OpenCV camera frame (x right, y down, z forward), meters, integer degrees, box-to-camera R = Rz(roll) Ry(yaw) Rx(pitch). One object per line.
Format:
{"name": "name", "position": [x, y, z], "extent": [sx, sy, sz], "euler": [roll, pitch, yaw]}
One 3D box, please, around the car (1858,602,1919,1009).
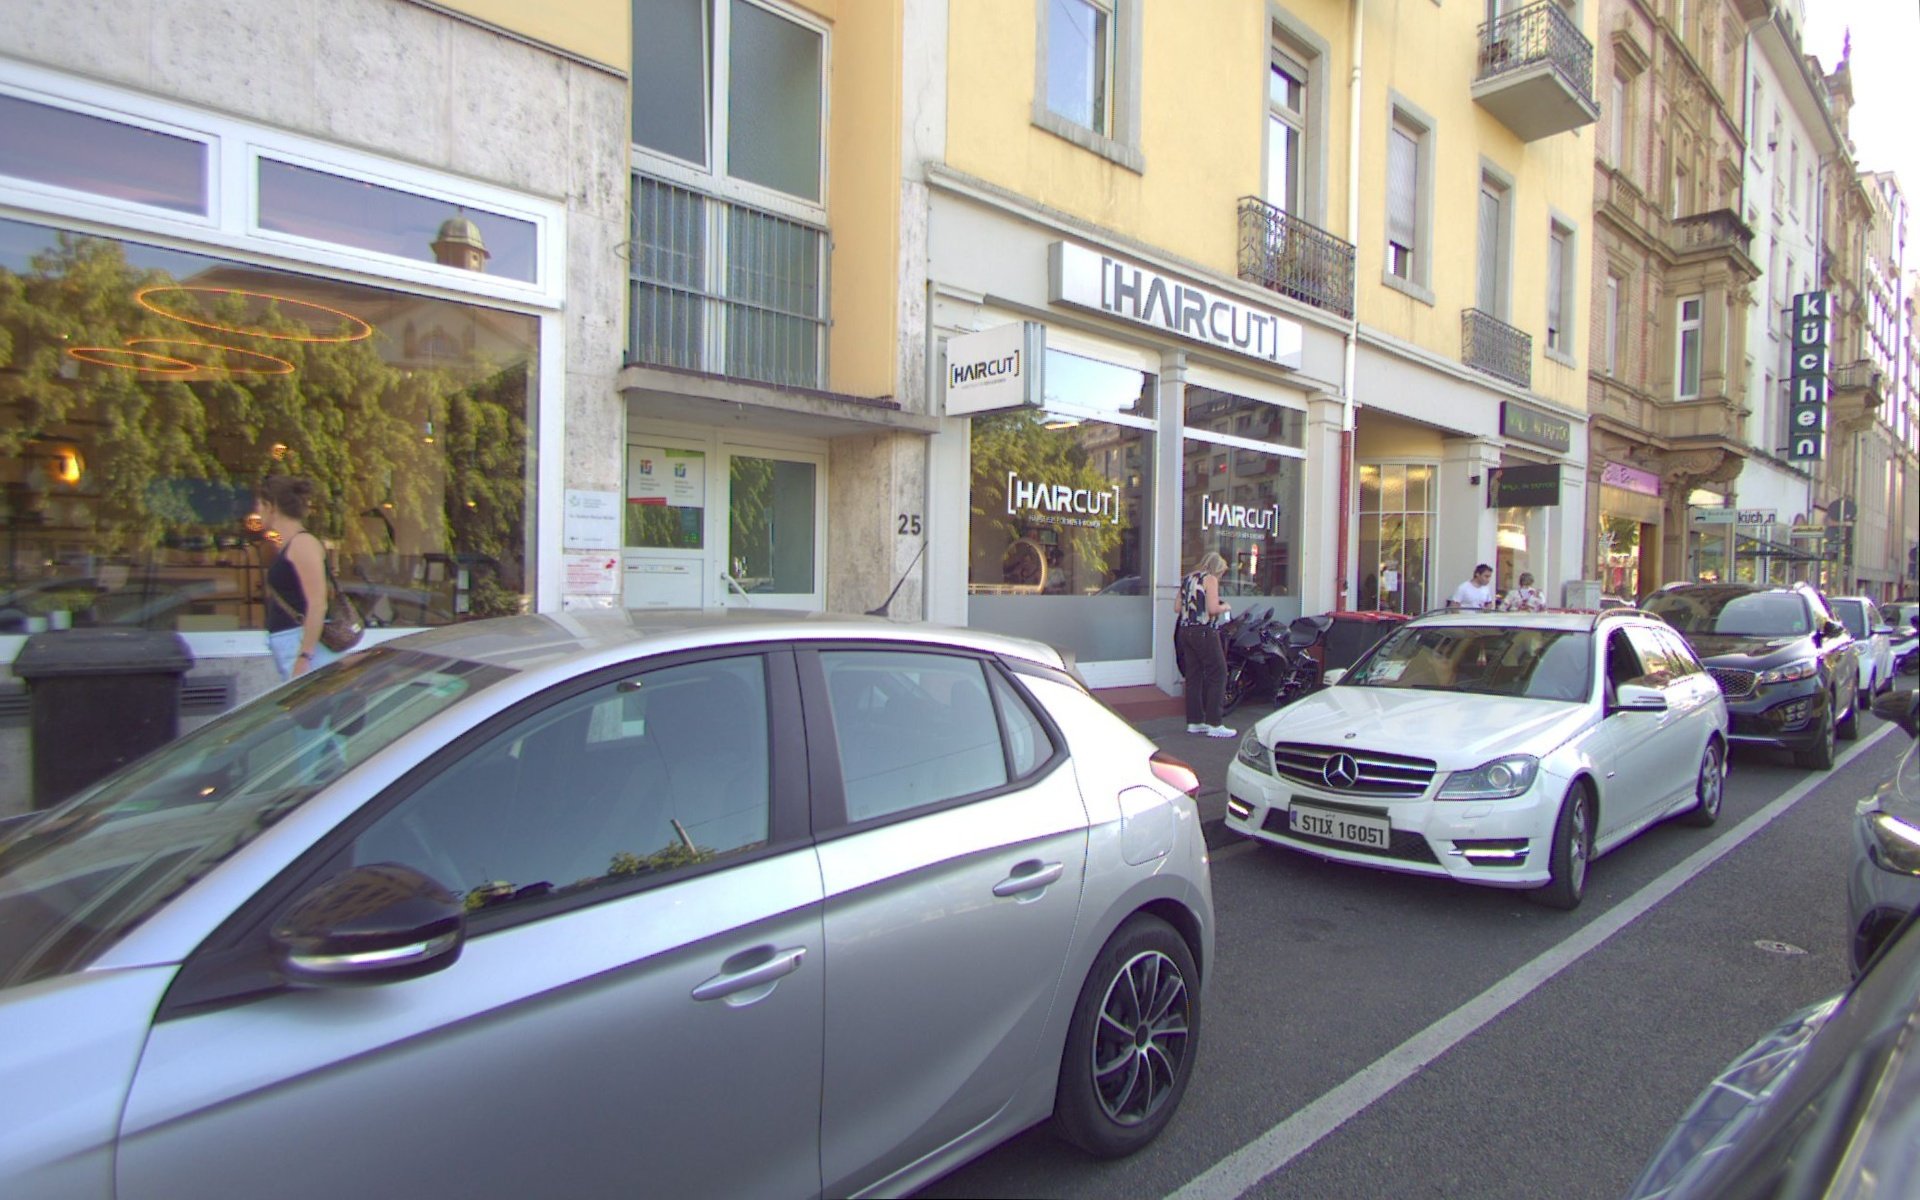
{"name": "car", "position": [5.259, 0.705, 4.245], "extent": [3.931, 1.376, 1.800], "euler": [-1, 1, -42]}

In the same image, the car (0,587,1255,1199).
{"name": "car", "position": [-0.991, 0.697, 2.285], "extent": [3.597, 1.445, 1.549], "euler": [-1, 1, -42]}

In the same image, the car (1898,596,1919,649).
{"name": "car", "position": [26.692, 0.586, 27.251], "extent": [3.773, 1.357, 1.800], "euler": [-1, 1, -42]}

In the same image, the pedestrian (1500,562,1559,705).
{"name": "pedestrian", "position": [7.704, 0.433, 13.701], "extent": [0.567, 1.874, 0.661], "euler": [0, 0, 19]}

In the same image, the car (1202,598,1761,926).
{"name": "car", "position": [3.531, 0.699, 6.447], "extent": [4.302, 1.376, 1.703], "euler": [-1, 1, -41]}

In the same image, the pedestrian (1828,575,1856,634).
{"name": "pedestrian", "position": [28.225, 0.147, 32.378], "extent": [0.653, 1.874, 0.574], "euler": [0, 0, -40]}

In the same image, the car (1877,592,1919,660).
{"name": "car", "position": [22.224, 0.551, 23.010], "extent": [4.016, 1.450, 1.657], "euler": [-1, 0, -42]}

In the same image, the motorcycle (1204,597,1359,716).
{"name": "motorcycle", "position": [3.369, 0.541, 10.515], "extent": [1.920, 1.091, 0.567], "euler": [-1, 4, -41]}

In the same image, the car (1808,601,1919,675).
{"name": "car", "position": [18.151, 0.679, 19.862], "extent": [4.016, 1.282, 1.800], "euler": [-1, 1, -42]}

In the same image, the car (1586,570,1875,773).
{"name": "car", "position": [8.007, 0.557, 10.359], "extent": [4.176, 1.659, 1.799], "euler": [-1, 1, -45]}

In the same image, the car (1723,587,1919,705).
{"name": "car", "position": [13.096, 0.579, 15.296], "extent": [4.016, 1.546, 1.800], "euler": [-1, 0, -42]}

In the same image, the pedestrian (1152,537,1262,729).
{"name": "pedestrian", "position": [2.269, 0.273, 9.328], "extent": [0.595, 1.674, 0.719], "euler": [0, 3, -40]}

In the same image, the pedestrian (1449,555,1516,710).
{"name": "pedestrian", "position": [6.893, 0.419, 13.355], "extent": [0.679, 2.008, 0.375], "euler": [1, 1, -18]}

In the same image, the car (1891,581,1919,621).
{"name": "car", "position": [39.320, 0.050, 39.684], "extent": [1.825, 1.571, 3.993], "euler": [-1, 1, -41]}

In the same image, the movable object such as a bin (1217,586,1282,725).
{"name": "movable object such as a bin", "position": [2.730, 0.508, 9.542], "extent": [0.387, 1.253, 0.391], "euler": [0, 3, -41]}

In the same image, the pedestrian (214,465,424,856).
{"name": "pedestrian", "position": [-2.968, 0.257, 4.748], "extent": [0.634, 1.686, 0.660], "euler": [0, 0, -11]}
